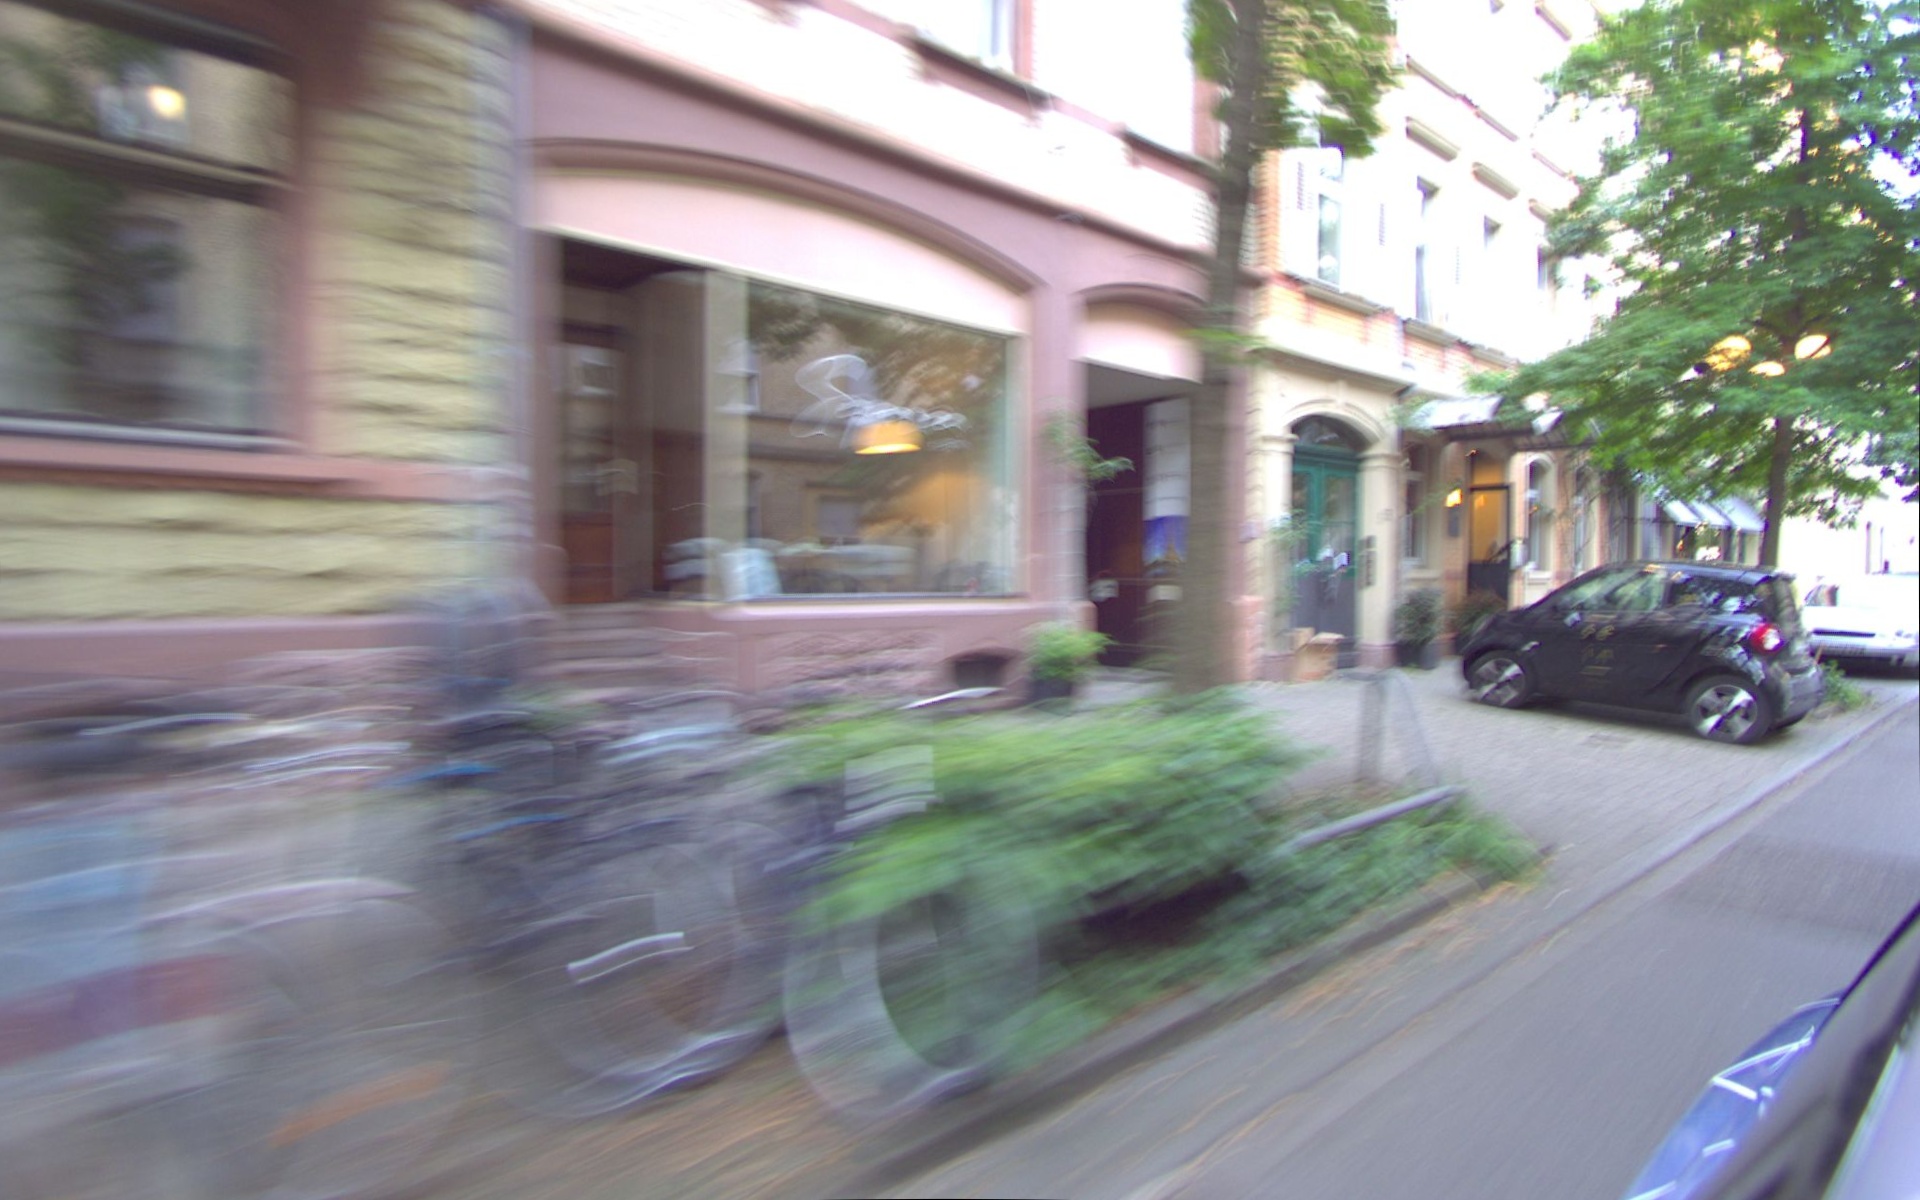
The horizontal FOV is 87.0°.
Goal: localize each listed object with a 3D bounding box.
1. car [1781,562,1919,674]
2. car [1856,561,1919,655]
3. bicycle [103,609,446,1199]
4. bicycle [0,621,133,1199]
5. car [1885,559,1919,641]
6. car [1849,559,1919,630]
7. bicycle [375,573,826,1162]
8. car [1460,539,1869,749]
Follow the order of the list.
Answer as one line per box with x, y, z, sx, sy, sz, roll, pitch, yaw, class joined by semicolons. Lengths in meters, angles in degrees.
13.985;0.186;15.333;4.032;1.509;1.736;-2;2;-41;car
17.284;0.102;18.087;3.070;1.580;1.593;-2;1;-42;car
-1.882;0.659;2.755;0.571;1.213;1.701;-1;1;-37;bicycle
-2.475;0.666;2.508;0.571;1.158;1.663;-1;1;-37;bicycle
19.723;-0.030;20.358;2.870;1.571;1.466;-2;2;-44;car
22.516;-0.130;23.403;1.499;1.592;2.720;-1;3;-40;car
-1.253;0.595;3.253;0.788;1.309;1.765;-1;3;-40;bicycle
6.655;0.265;9.718;1.769;1.618;2.805;-2;5;-40;car
